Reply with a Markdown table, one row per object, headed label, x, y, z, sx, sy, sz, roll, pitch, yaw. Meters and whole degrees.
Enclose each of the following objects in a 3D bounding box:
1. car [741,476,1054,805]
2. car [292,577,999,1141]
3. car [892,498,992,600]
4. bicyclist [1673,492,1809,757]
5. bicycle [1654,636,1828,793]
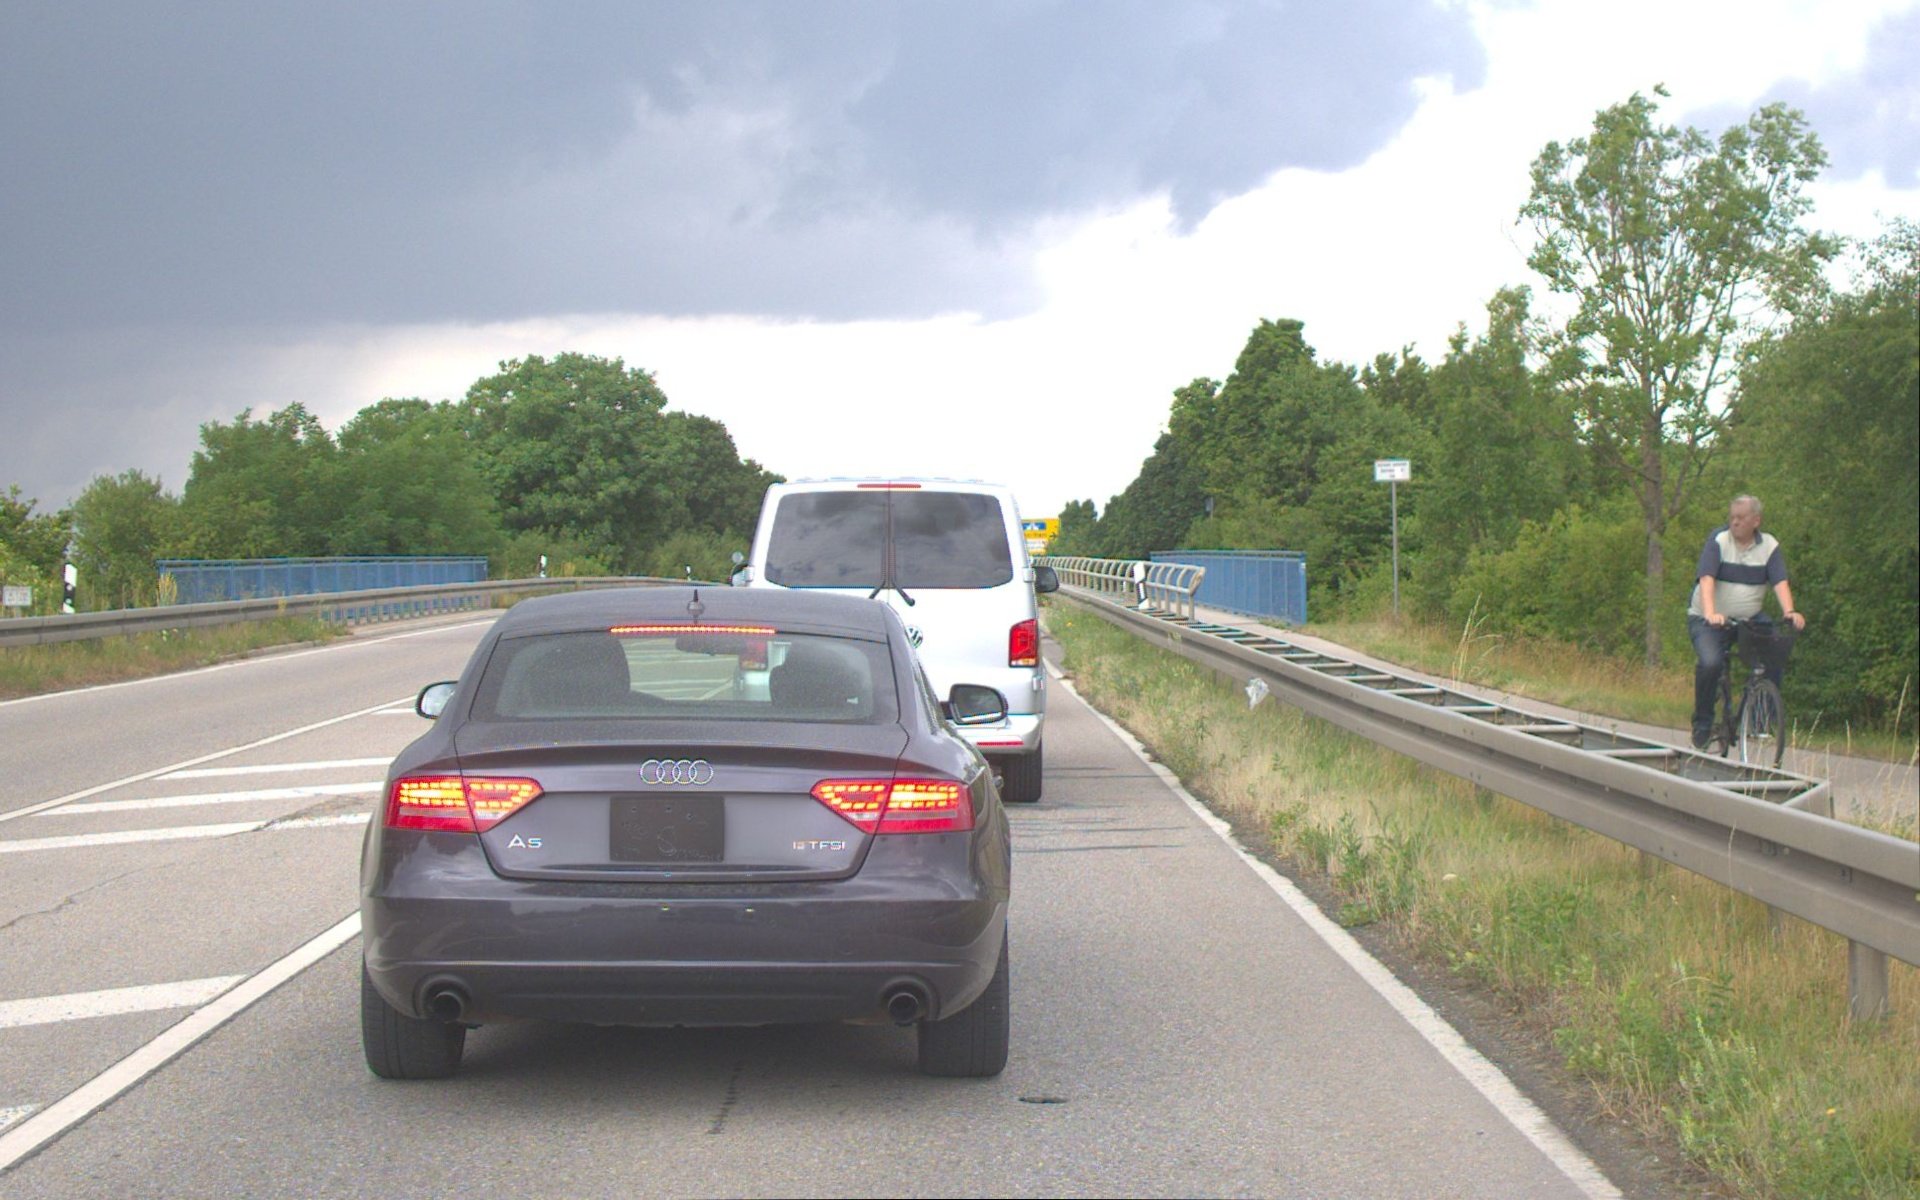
| label | x | y | z | sx | sy | sz | roll | pitch | yaw |
| --- | --- | --- | --- | --- | --- | --- | --- | --- | --- |
| car | -0.382 | 0.227 | 21.921 | 1.785 | 1.883 | 4.000 | 1 | 0 | -1 |
| car | -0.823 | 0.651 | 10.774 | 1.785 | 1.419 | 4.000 | 1 | 0 | -1 |
| car | -0.446 | -1.319 | 87.751 | 2.447 | 2.495 | 5.041 | 1 | 1 | 0 |
| bicyclist | 4.932 | 0.147 | 21.743 | 0.647 | 1.639 | 0.866 | -1 | 0 | -1 |
| bicycle | 4.945 | 0.708 | 21.862 | 0.666 | 0.917 | 1.830 | -1 | 1 | -1 |
